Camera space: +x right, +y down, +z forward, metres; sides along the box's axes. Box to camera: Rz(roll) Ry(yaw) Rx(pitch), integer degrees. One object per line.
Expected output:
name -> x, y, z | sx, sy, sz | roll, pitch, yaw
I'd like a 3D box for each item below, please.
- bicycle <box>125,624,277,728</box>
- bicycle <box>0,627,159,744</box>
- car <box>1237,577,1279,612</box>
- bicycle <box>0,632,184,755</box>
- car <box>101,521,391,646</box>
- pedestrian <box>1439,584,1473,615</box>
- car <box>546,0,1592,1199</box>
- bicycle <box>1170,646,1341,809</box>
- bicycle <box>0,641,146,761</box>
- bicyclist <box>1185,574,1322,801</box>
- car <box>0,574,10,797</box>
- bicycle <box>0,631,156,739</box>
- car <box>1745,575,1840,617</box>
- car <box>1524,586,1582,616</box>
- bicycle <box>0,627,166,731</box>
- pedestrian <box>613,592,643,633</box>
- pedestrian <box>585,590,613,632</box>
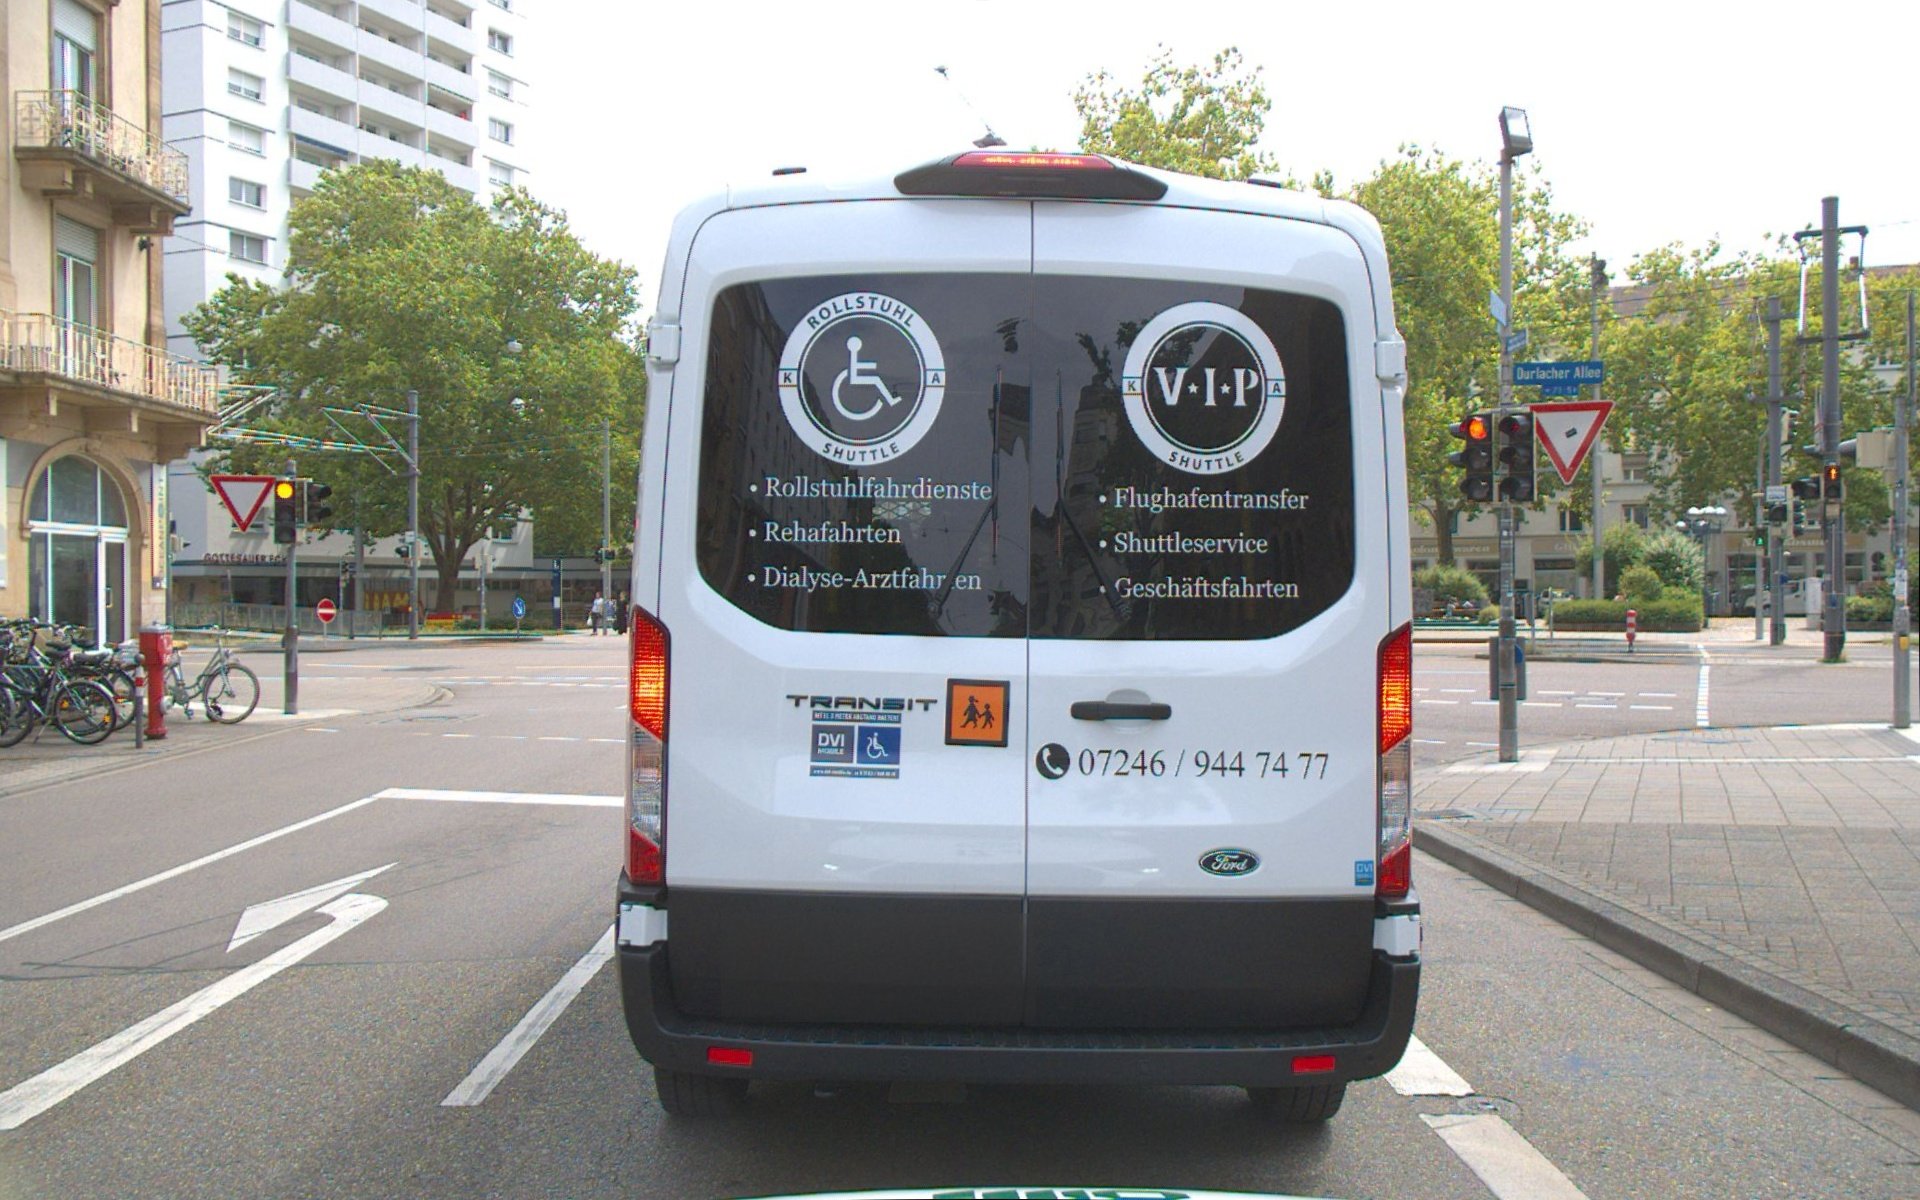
bicycle -> -9.279, 0.911, 20.209 | 1.836, 1.187, 0.498 | 2, 0, 20
bicycle -> -9.668, 0.911, 17.777 | 1.775, 1.186, 0.593 | 2, 0, -9
car -> 17.123, -0.342, 95.186 | 1.951, 1.964, 4.002 | -1, 0, 4
bicycle -> -9.042, 0.952, 17.049 | 1.771, 1.140, 0.594 | 3, 0, 3
car -> -24.406, -0.540, 56.442 | 9.686, 3.984, 3.454 | 0, 0, 24
pedestrian -> 21.211, -0.013, 70.732 | 1.068, 1.257, 1.441 | -2, -1, 4
car -> 0.157, 0.084, 5.782 | 2.138, 2.694, 4.627 | 1, 1, -2
bicycle -> 2.268, 0.948, 12.957 | 0.885, 1.094, 1.969 | 0, 0, -3
bicycle -> -9.078, 0.990, 16.377 | 1.771, 1.140, 0.594 | -1, 0, 6
bicyclist -> 2.278, 0.659, 12.914 | 0.886, 1.713, 0.756 | 0, 0, -4
car -> -9.789, 0.711, 12.828 | 3.974, 1.804, 1.771 | -1, 1, -40
bicycle -> -9.998, 0.938, 18.383 | 1.775, 1.140, 0.593 | 2, 0, -9
car -> 39.844, -0.196, 79.241 | 3.907, 1.916, 1.857 | -1, 0, 24
car -> 31.756, 0.031, 88.669 | 1.951, 1.529, 4.002 | -1, 0, 4
bicycle -> -10.211, 0.905, 19.078 | 1.775, 1.140, 0.593 | 2, 0, -9
pedestrian -> -12.615, 0.468, 62.870 | 0.910, 1.541, 0.724 | 0, 0, 14
pedestrian -> -13.762, 0.422, 63.003 | 0.790, 1.600, 0.724 | 0, 0, 13
